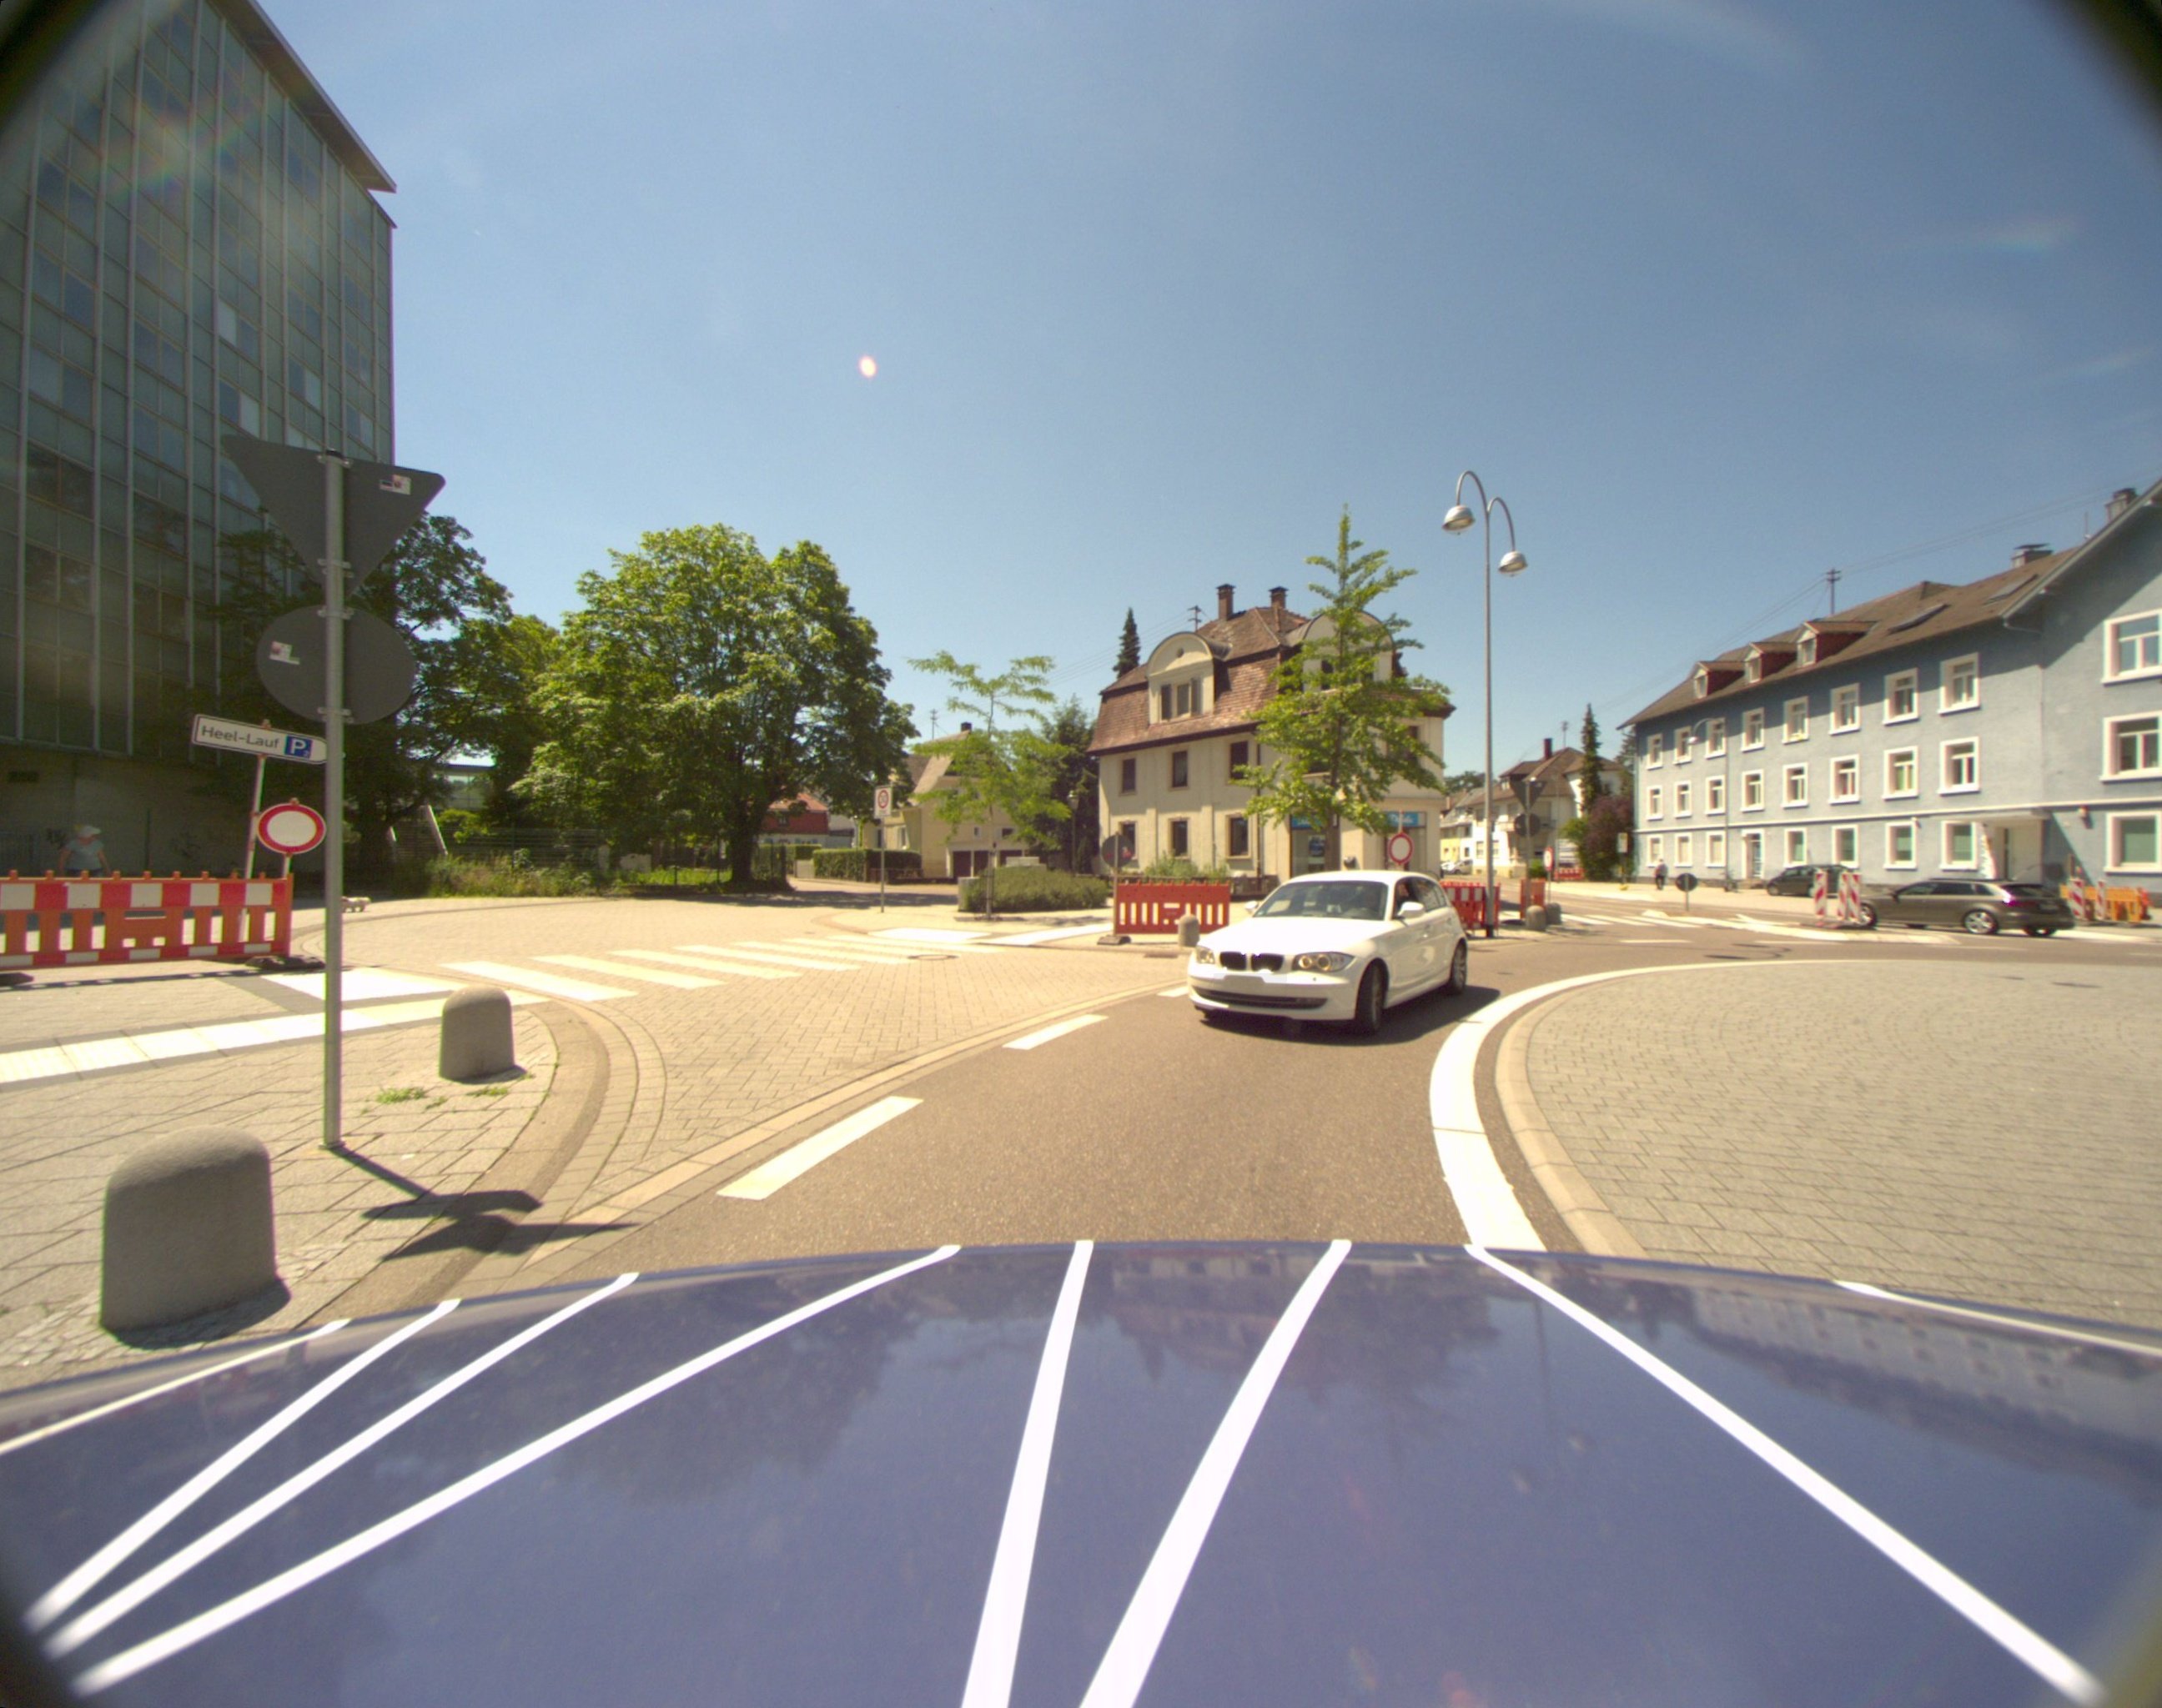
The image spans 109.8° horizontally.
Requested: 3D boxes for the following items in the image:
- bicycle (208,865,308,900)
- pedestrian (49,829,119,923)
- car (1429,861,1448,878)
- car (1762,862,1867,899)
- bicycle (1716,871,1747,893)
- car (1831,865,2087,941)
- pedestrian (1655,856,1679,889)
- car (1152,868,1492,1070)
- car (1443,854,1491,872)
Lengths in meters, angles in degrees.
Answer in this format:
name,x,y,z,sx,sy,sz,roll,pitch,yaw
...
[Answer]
name,x,y,z,sx,sy,sz,roll,pitch,yaw
bicycle,-21.964,0.752,20.318,1.757,0.902,0.447,0,1,-33
pedestrian,-18.496,0.400,14.106,0.487,1.698,0.566,3,0,-6
car,36.301,1.557,77.238,1.660,1.444,4.030,3,2,25
car,33.802,1.181,35.155,1.580,1.526,3.777,0,1,9
bicycle,33.864,1.447,39.569,0.496,0.971,1.975,-4,0,19
car,23.114,1.211,20.303,1.781,1.767,4.242,1,-1,-4
pedestrian,33.613,1.067,43.602,0.757,1.837,0.772,-3,0,8
car,2.739,0.944,8.005,1.782,1.541,4.138,-2,-2,43
car,43.183,1.036,84.990,4.361,1.866,1.850,2,0,2
